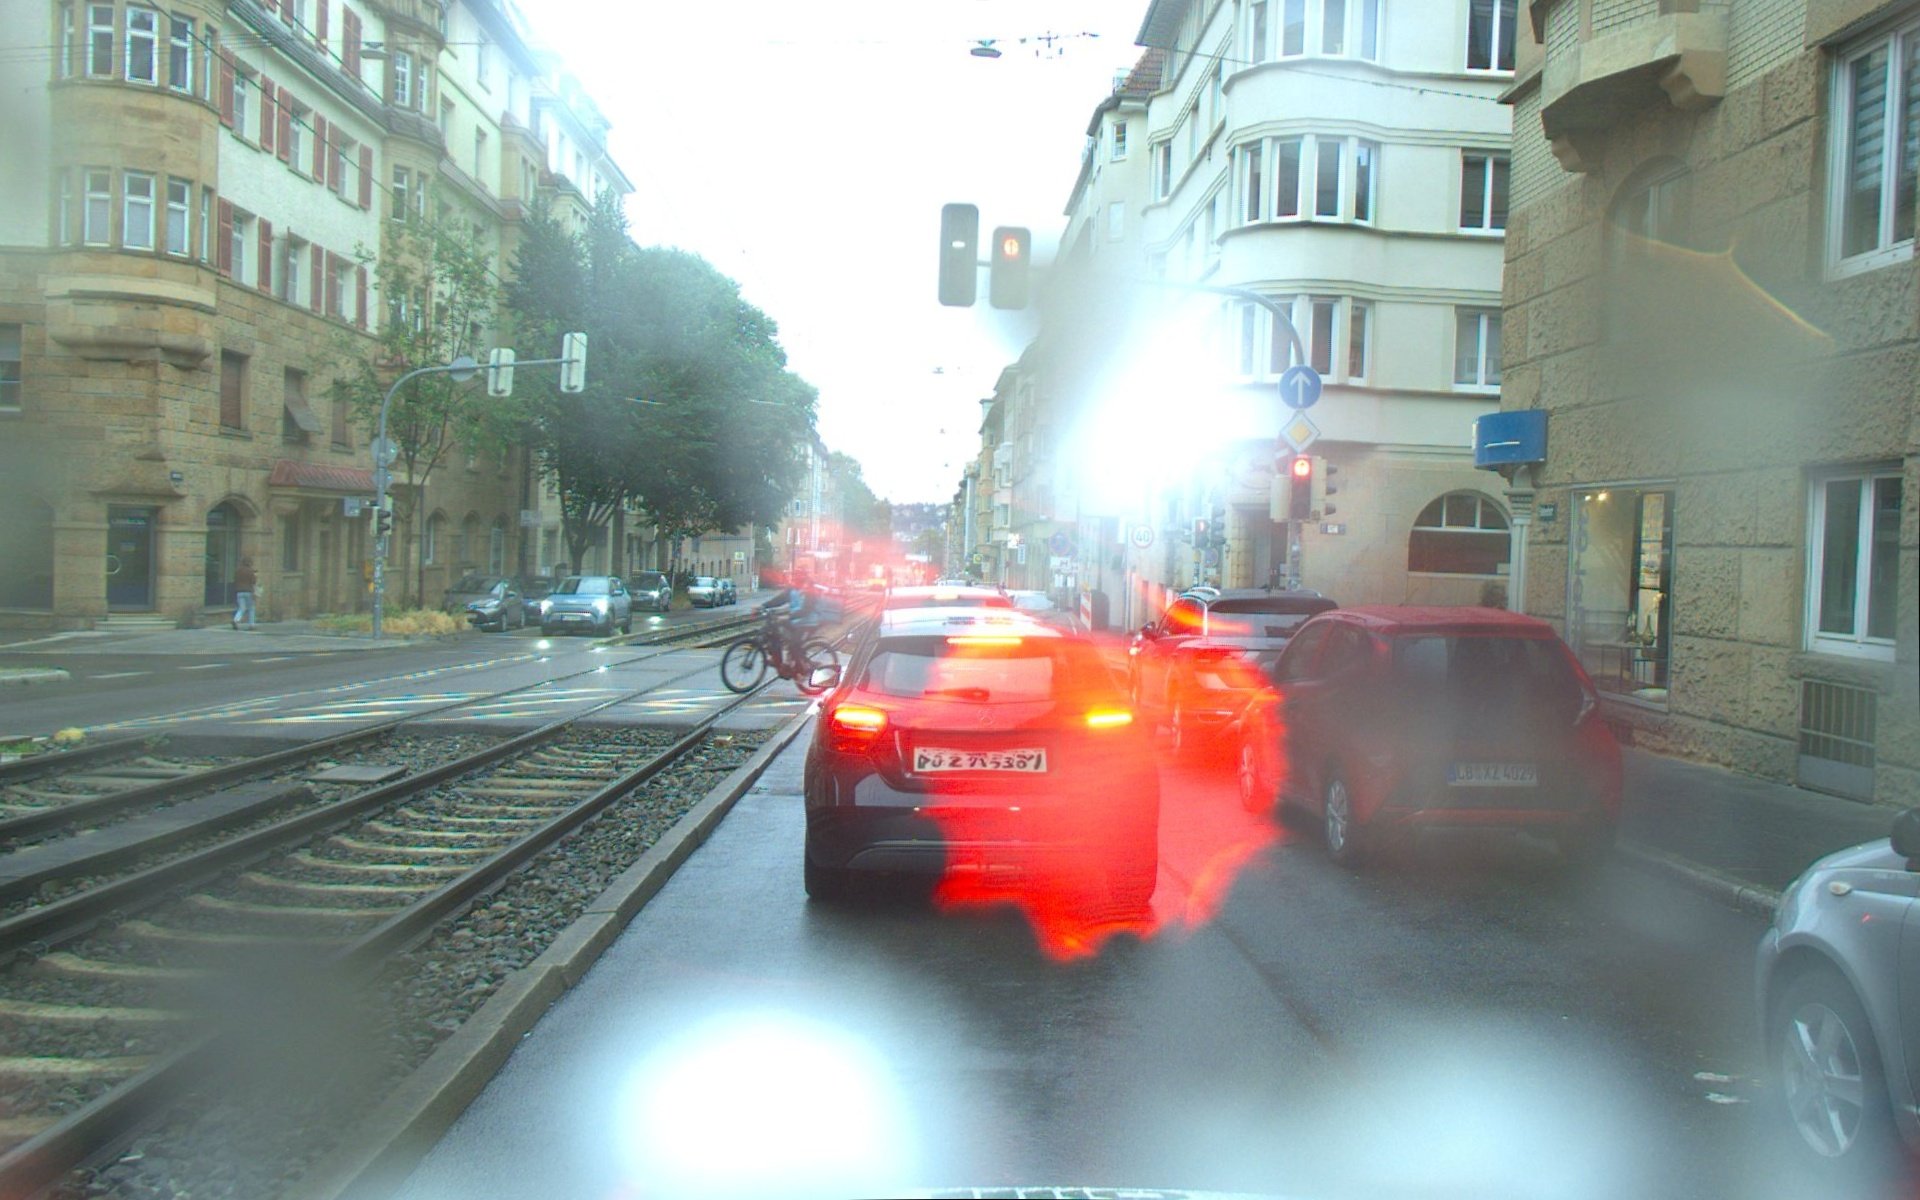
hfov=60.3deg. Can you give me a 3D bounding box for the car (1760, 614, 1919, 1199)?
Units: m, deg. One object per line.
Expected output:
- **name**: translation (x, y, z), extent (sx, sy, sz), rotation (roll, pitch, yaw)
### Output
- **car**: translation (3.118, 0.793, 3.169), extent (1.581, 1.493, 3.312), rotation (0, 0, 0)

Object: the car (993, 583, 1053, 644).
- **car**: translation (1.766, 0.364, 47.208), extent (1.513, 1.618, 3.547), rotation (1, 0, -1)

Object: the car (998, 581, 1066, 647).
- **car**: translation (1.836, 0.339, 42.734), extent (1.513, 1.618, 3.547), rotation (1, 0, -1)

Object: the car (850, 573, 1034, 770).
- **car**: translation (-0.181, 0.615, 15.903), extent (1.533, 1.637, 3.813), rotation (1, 0, -1)

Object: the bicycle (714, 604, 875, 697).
- **bicycle**: translation (-2.222, 0.671, 22.271), extent (2.003, 1.207, 0.820), rotation (1, -1, -24)

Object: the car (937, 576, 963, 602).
- **car**: translation (-0.782, -0.859, 129.493), extent (1.953, 1.909, 3.999), rotation (1, 0, -1)

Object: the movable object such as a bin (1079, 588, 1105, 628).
- **movable object such as a bin**: translation (4.762, 0.287, 59.711), extent (0.859, 1.413, 0.983), rotation (1, -1, 3)

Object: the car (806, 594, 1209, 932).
- **car**: translation (0.186, 0.733, 9.520), extent (1.792, 1.483, 4.103), rotation (1, 0, -1)

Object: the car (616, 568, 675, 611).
- **car**: translation (-13.562, -0.445, 71.574), extent (1.837, 1.767, 3.917), rotation (1, 0, -1)

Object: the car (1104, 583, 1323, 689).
- **car**: translation (4.356, 0.588, 28.414), extent (3.595, 1.664, 1.551), rotation (1, 0, 10)

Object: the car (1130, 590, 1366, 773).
- **car**: translation (2.626, 0.677, 15.864), extent (1.513, 1.512, 3.829), rotation (1, 0, -1)

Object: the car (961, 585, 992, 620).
- **car**: translation (0.723, 0.108, 73.675), extent (1.268, 1.467, 2.928), rotation (1, 0, -1)

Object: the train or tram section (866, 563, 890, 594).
- **train or tram section**: translation (-10.931, -2.818, 220.640), extent (2.726, 3.928, 10.427), rotation (1, 0, -1)

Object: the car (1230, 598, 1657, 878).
- **car**: translation (2.901, 0.751, 10.629), extent (1.609, 1.473, 3.297), rotation (1, 0, -3)

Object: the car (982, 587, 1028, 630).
- **car**: translation (1.662, 0.307, 61.617), extent (1.513, 1.512, 3.547), rotation (1, 0, -1)

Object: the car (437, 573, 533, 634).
- **car**: translation (-13.015, 0.105, 45.565), extent (1.718, 1.579, 4.032), rotation (1, 0, -4)

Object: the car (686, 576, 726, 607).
- **car**: translation (-13.656, -0.422, 89.036), extent (1.557, 1.608, 3.917), rotation (1, 0, -1)

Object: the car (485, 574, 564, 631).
- **car**: translation (-13.279, 0.085, 50.591), extent (1.683, 1.639, 3.914), rotation (1, 0, -5)

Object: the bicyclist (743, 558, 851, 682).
- **bicyclist**: translation (-2.203, 0.271, 22.282), extent (1.232, 1.625, 0.881), rotation (1, -1, -23)

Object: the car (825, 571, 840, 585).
- **car**: translation (-12.307, -2.135, 159.771), extent (1.349, 1.271, 3.296), rotation (1, 0, -2)

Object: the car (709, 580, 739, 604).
- **car**: translation (-14.023, -0.482, 98.440), extent (1.419, 1.354, 3.270), rotation (1, 0, -3)

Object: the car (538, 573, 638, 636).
- **car**: translation (-10.050, 0.124, 44.996), extent (1.860, 1.615, 3.972), rotation (1, 0, -1)

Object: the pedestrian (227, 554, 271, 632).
- **pedestrian**: translation (-15.684, -0.144, 36.508), extent (0.618, 1.702, 0.703), rotation (1, -1, 3)
